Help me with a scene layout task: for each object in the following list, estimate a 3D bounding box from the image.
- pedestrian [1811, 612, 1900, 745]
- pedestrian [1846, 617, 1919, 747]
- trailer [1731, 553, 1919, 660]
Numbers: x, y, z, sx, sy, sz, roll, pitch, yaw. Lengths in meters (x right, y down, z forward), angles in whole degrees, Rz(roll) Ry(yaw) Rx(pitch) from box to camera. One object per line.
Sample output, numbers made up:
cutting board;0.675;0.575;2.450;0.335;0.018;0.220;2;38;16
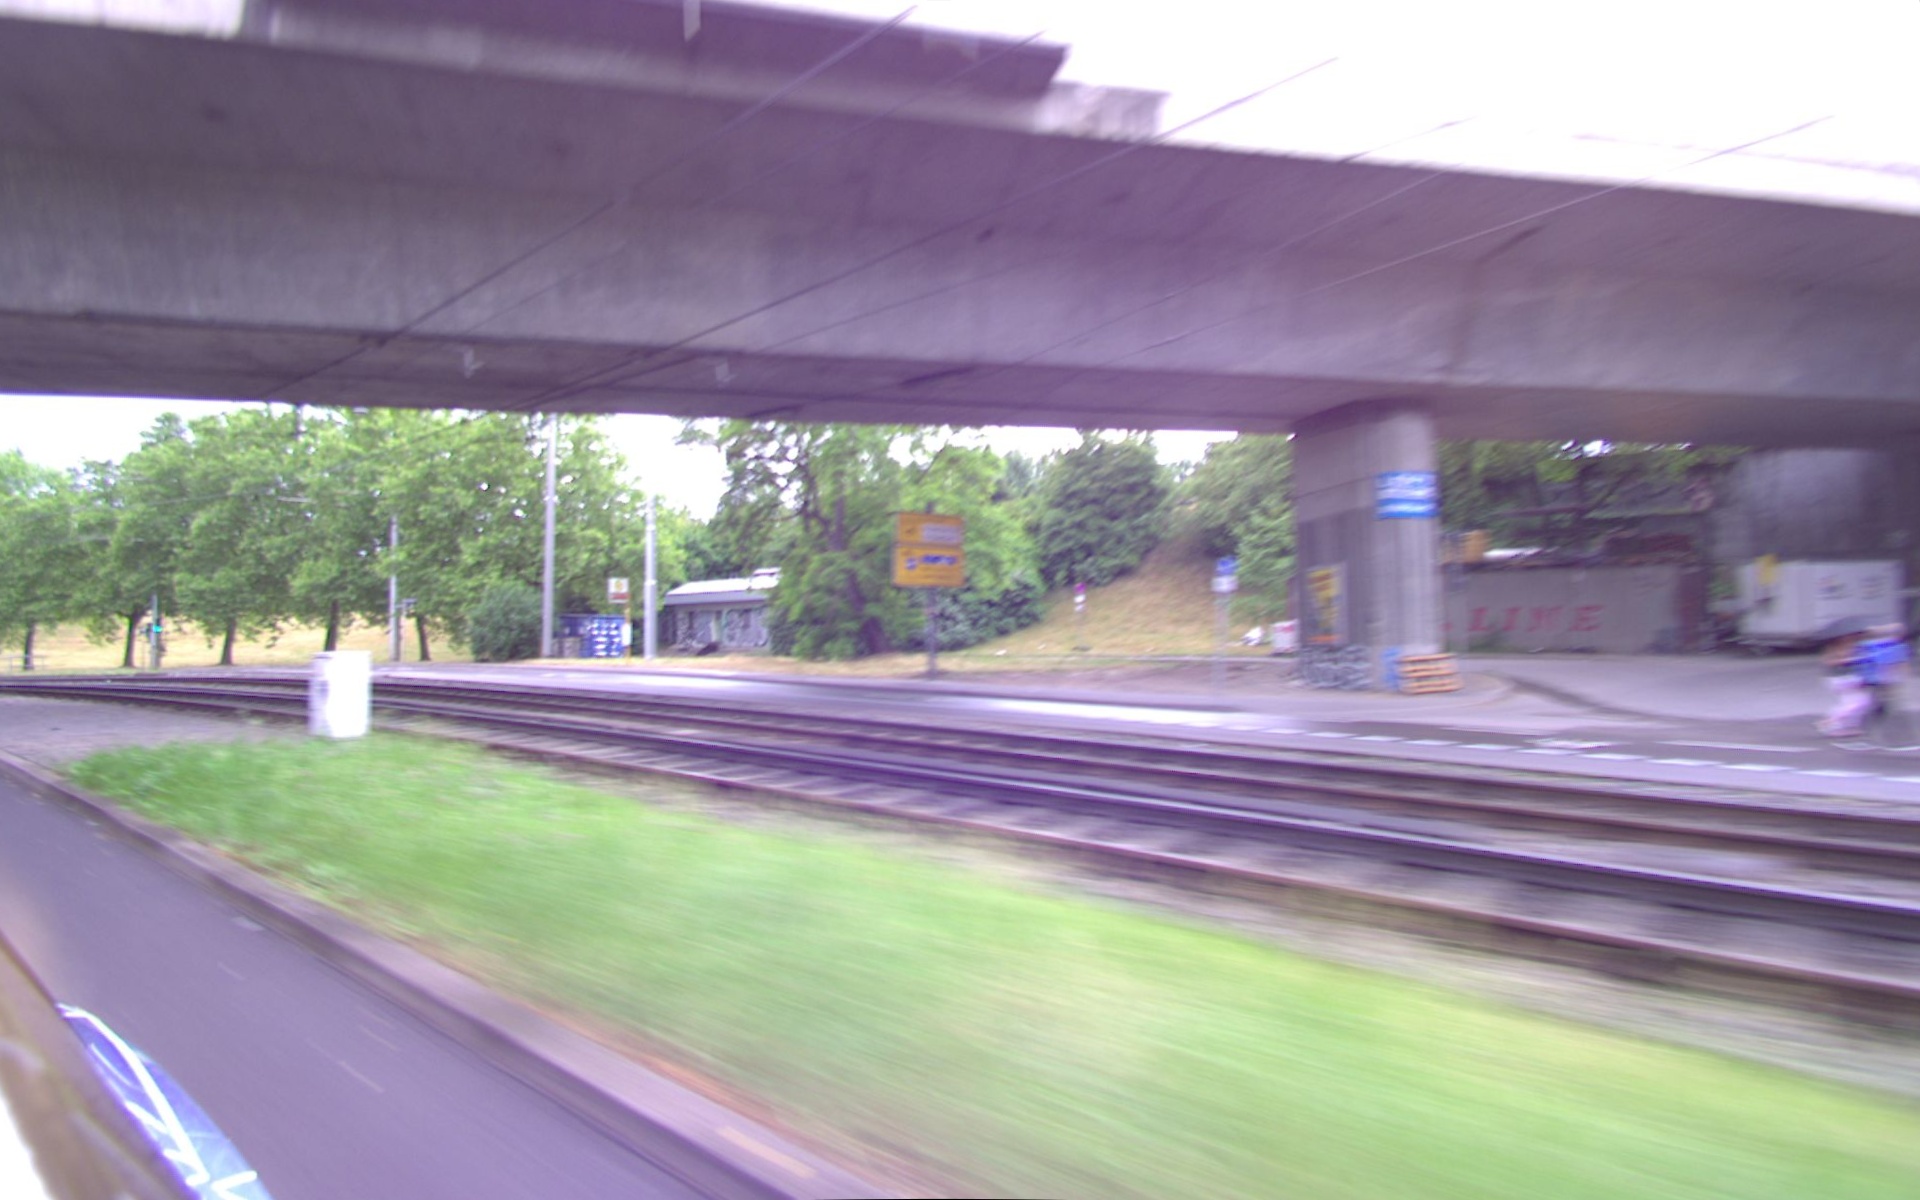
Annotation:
pedestrian;12.944;1.112;14.635;0.866;1.845;0.686;-3;-3;43
pedestrian;12.571;1.087;13.591;0.685;1.683;0.888;0;-3;-45
trailer;23.620;0.177;27.573;4.054;2.746;2.005;-1;-2;-15
